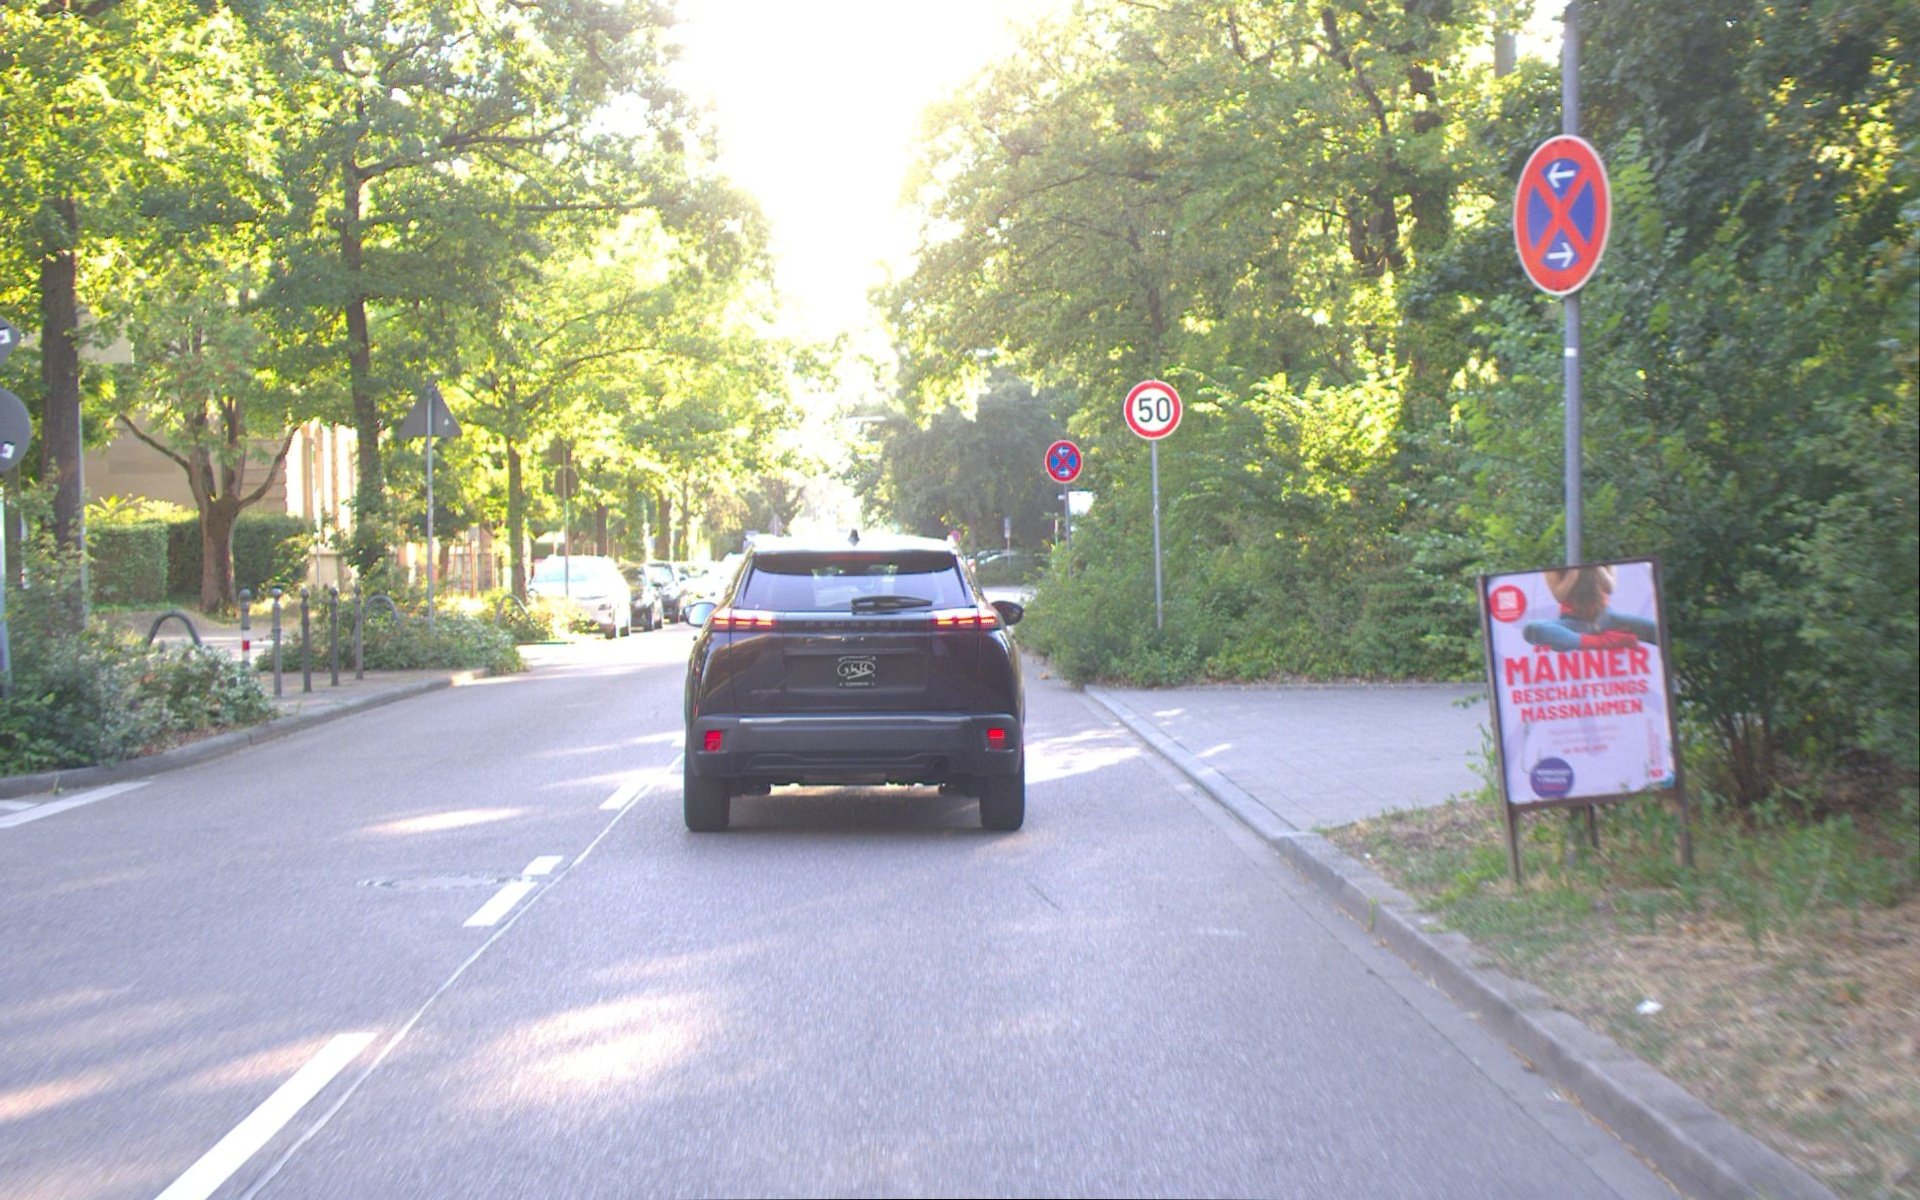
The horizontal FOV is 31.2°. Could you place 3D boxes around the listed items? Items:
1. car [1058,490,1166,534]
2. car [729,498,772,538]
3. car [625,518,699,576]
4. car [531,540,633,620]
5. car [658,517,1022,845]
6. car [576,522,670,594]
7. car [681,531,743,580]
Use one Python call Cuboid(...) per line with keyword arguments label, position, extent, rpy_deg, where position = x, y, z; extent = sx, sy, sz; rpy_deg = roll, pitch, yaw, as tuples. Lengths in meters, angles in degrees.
Cuboid(label="car", position=(5.947, -3.457, 134.754), extent=(3.986, 1.577, 1.817), rpy_deg=(-2, 2, -4))
Cuboid(label="car", position=(-10.341, -4.058, 170.079), extent=(1.907, 1.861, 3.949), rpy_deg=(-2, 2, -1))
Cuboid(label="car", position=(-7.650, -1.381, 88.345), extent=(1.810, 1.349, 4.001), rpy_deg=(-2, 2, -5))
Cuboid(label="car", position=(-7.145, -0.405, 65.070), extent=(1.810, 1.349, 4.001), rpy_deg=(-2, 2, -6))
Cuboid(label="car", position=(-0.624, 0.363, 18.790), extent=(1.768, 1.563, 3.381), rpy_deg=(-1, 2, -1))
Cuboid(label="car", position=(-6.959, -0.900, 71.306), extent=(1.810, 1.349, 4.001), rpy_deg=(-2, 2, -5))
Cuboid(label="car", position=(-7.607, -1.365, 105.149), extent=(1.810, 1.349, 3.980), rpy_deg=(-2, 2, -5))
